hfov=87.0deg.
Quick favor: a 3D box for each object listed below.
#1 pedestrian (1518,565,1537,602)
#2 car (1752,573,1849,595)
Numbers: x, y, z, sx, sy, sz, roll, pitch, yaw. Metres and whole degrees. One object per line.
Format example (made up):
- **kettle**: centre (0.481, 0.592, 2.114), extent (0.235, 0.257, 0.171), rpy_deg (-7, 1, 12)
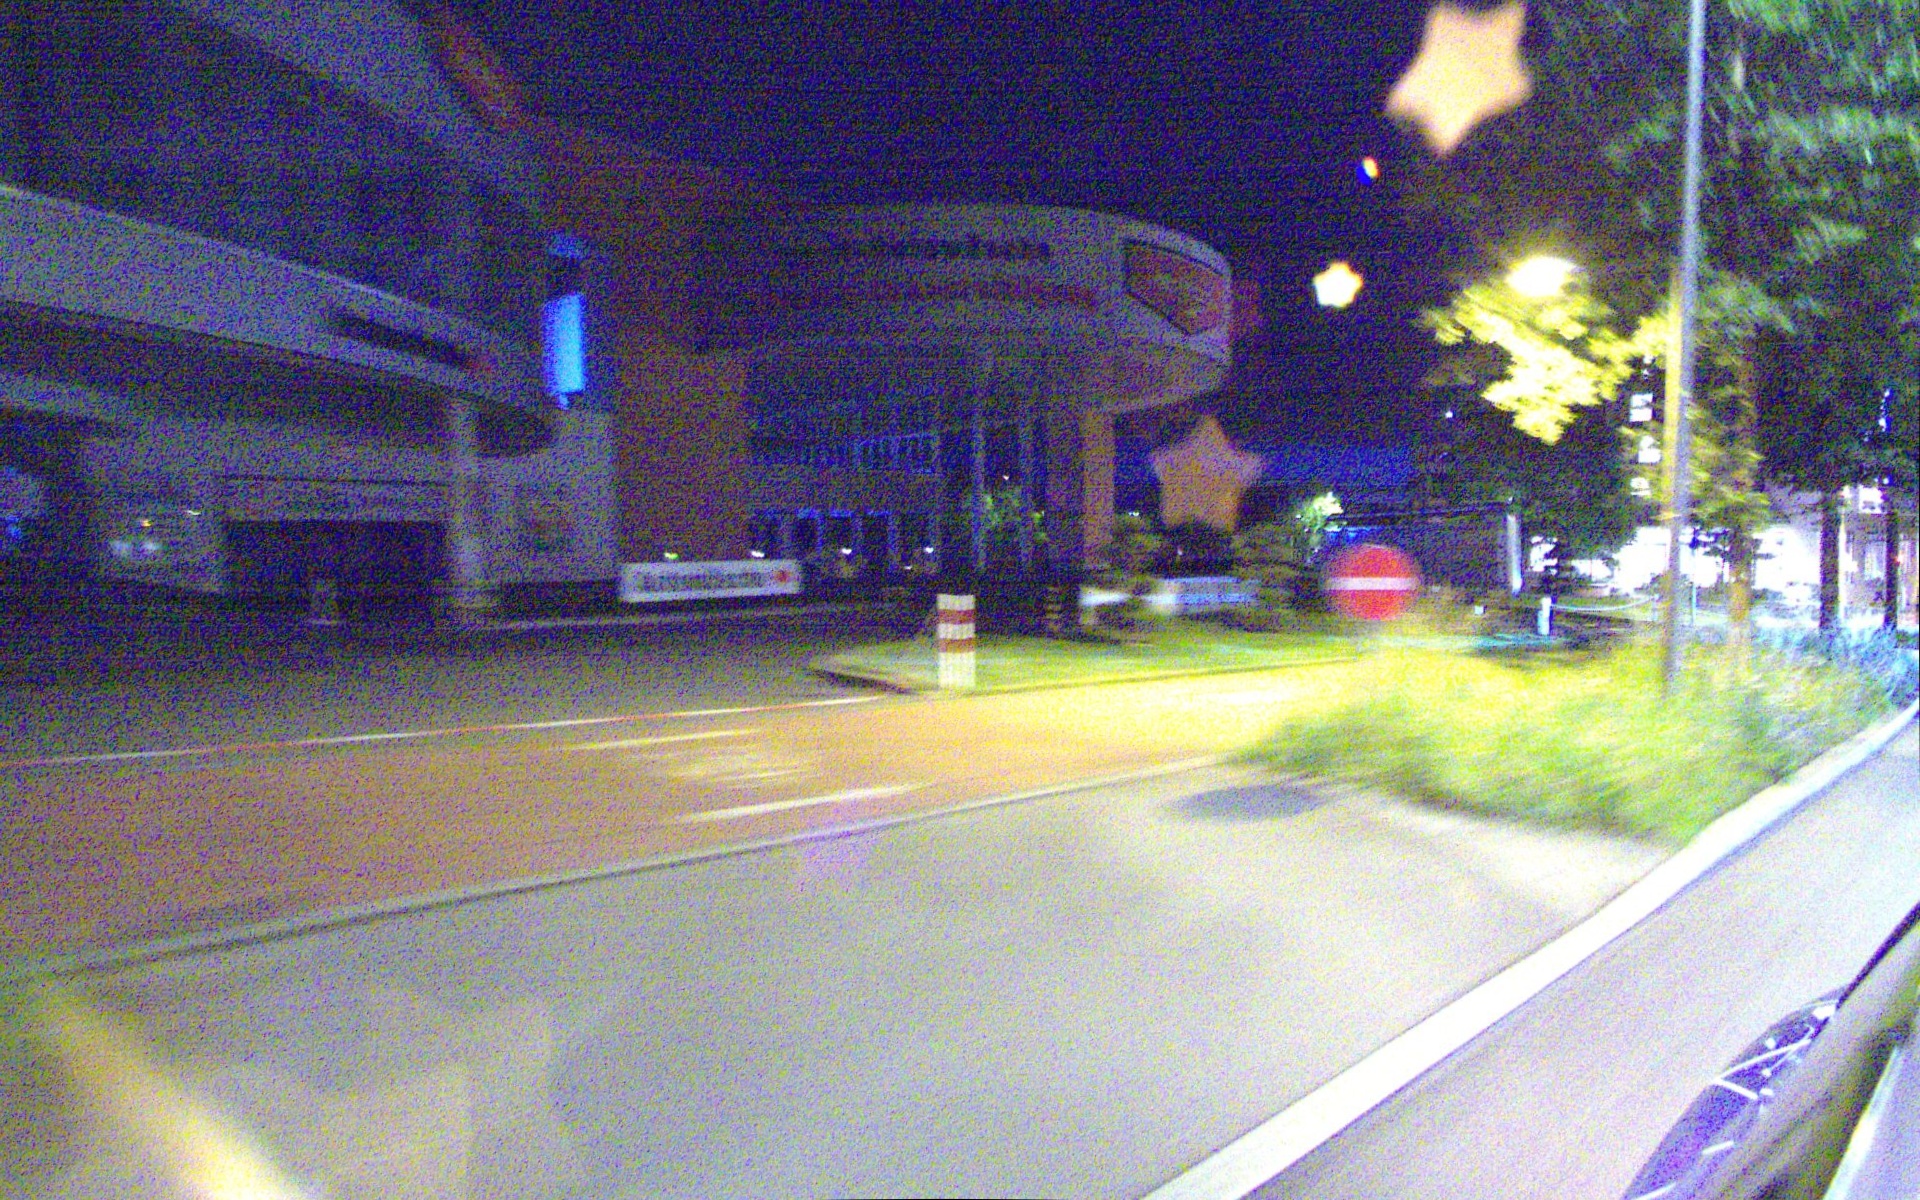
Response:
- **pedestrian**: centre (29.538, -0.844, 52.643), extent (0.720, 1.900, 0.663), rpy_deg (-1, 1, -43)
- **car**: centre (47.503, -0.923, 57.264), extent (3.934, 1.047, 1.481), rpy_deg (3, 2, 9)
